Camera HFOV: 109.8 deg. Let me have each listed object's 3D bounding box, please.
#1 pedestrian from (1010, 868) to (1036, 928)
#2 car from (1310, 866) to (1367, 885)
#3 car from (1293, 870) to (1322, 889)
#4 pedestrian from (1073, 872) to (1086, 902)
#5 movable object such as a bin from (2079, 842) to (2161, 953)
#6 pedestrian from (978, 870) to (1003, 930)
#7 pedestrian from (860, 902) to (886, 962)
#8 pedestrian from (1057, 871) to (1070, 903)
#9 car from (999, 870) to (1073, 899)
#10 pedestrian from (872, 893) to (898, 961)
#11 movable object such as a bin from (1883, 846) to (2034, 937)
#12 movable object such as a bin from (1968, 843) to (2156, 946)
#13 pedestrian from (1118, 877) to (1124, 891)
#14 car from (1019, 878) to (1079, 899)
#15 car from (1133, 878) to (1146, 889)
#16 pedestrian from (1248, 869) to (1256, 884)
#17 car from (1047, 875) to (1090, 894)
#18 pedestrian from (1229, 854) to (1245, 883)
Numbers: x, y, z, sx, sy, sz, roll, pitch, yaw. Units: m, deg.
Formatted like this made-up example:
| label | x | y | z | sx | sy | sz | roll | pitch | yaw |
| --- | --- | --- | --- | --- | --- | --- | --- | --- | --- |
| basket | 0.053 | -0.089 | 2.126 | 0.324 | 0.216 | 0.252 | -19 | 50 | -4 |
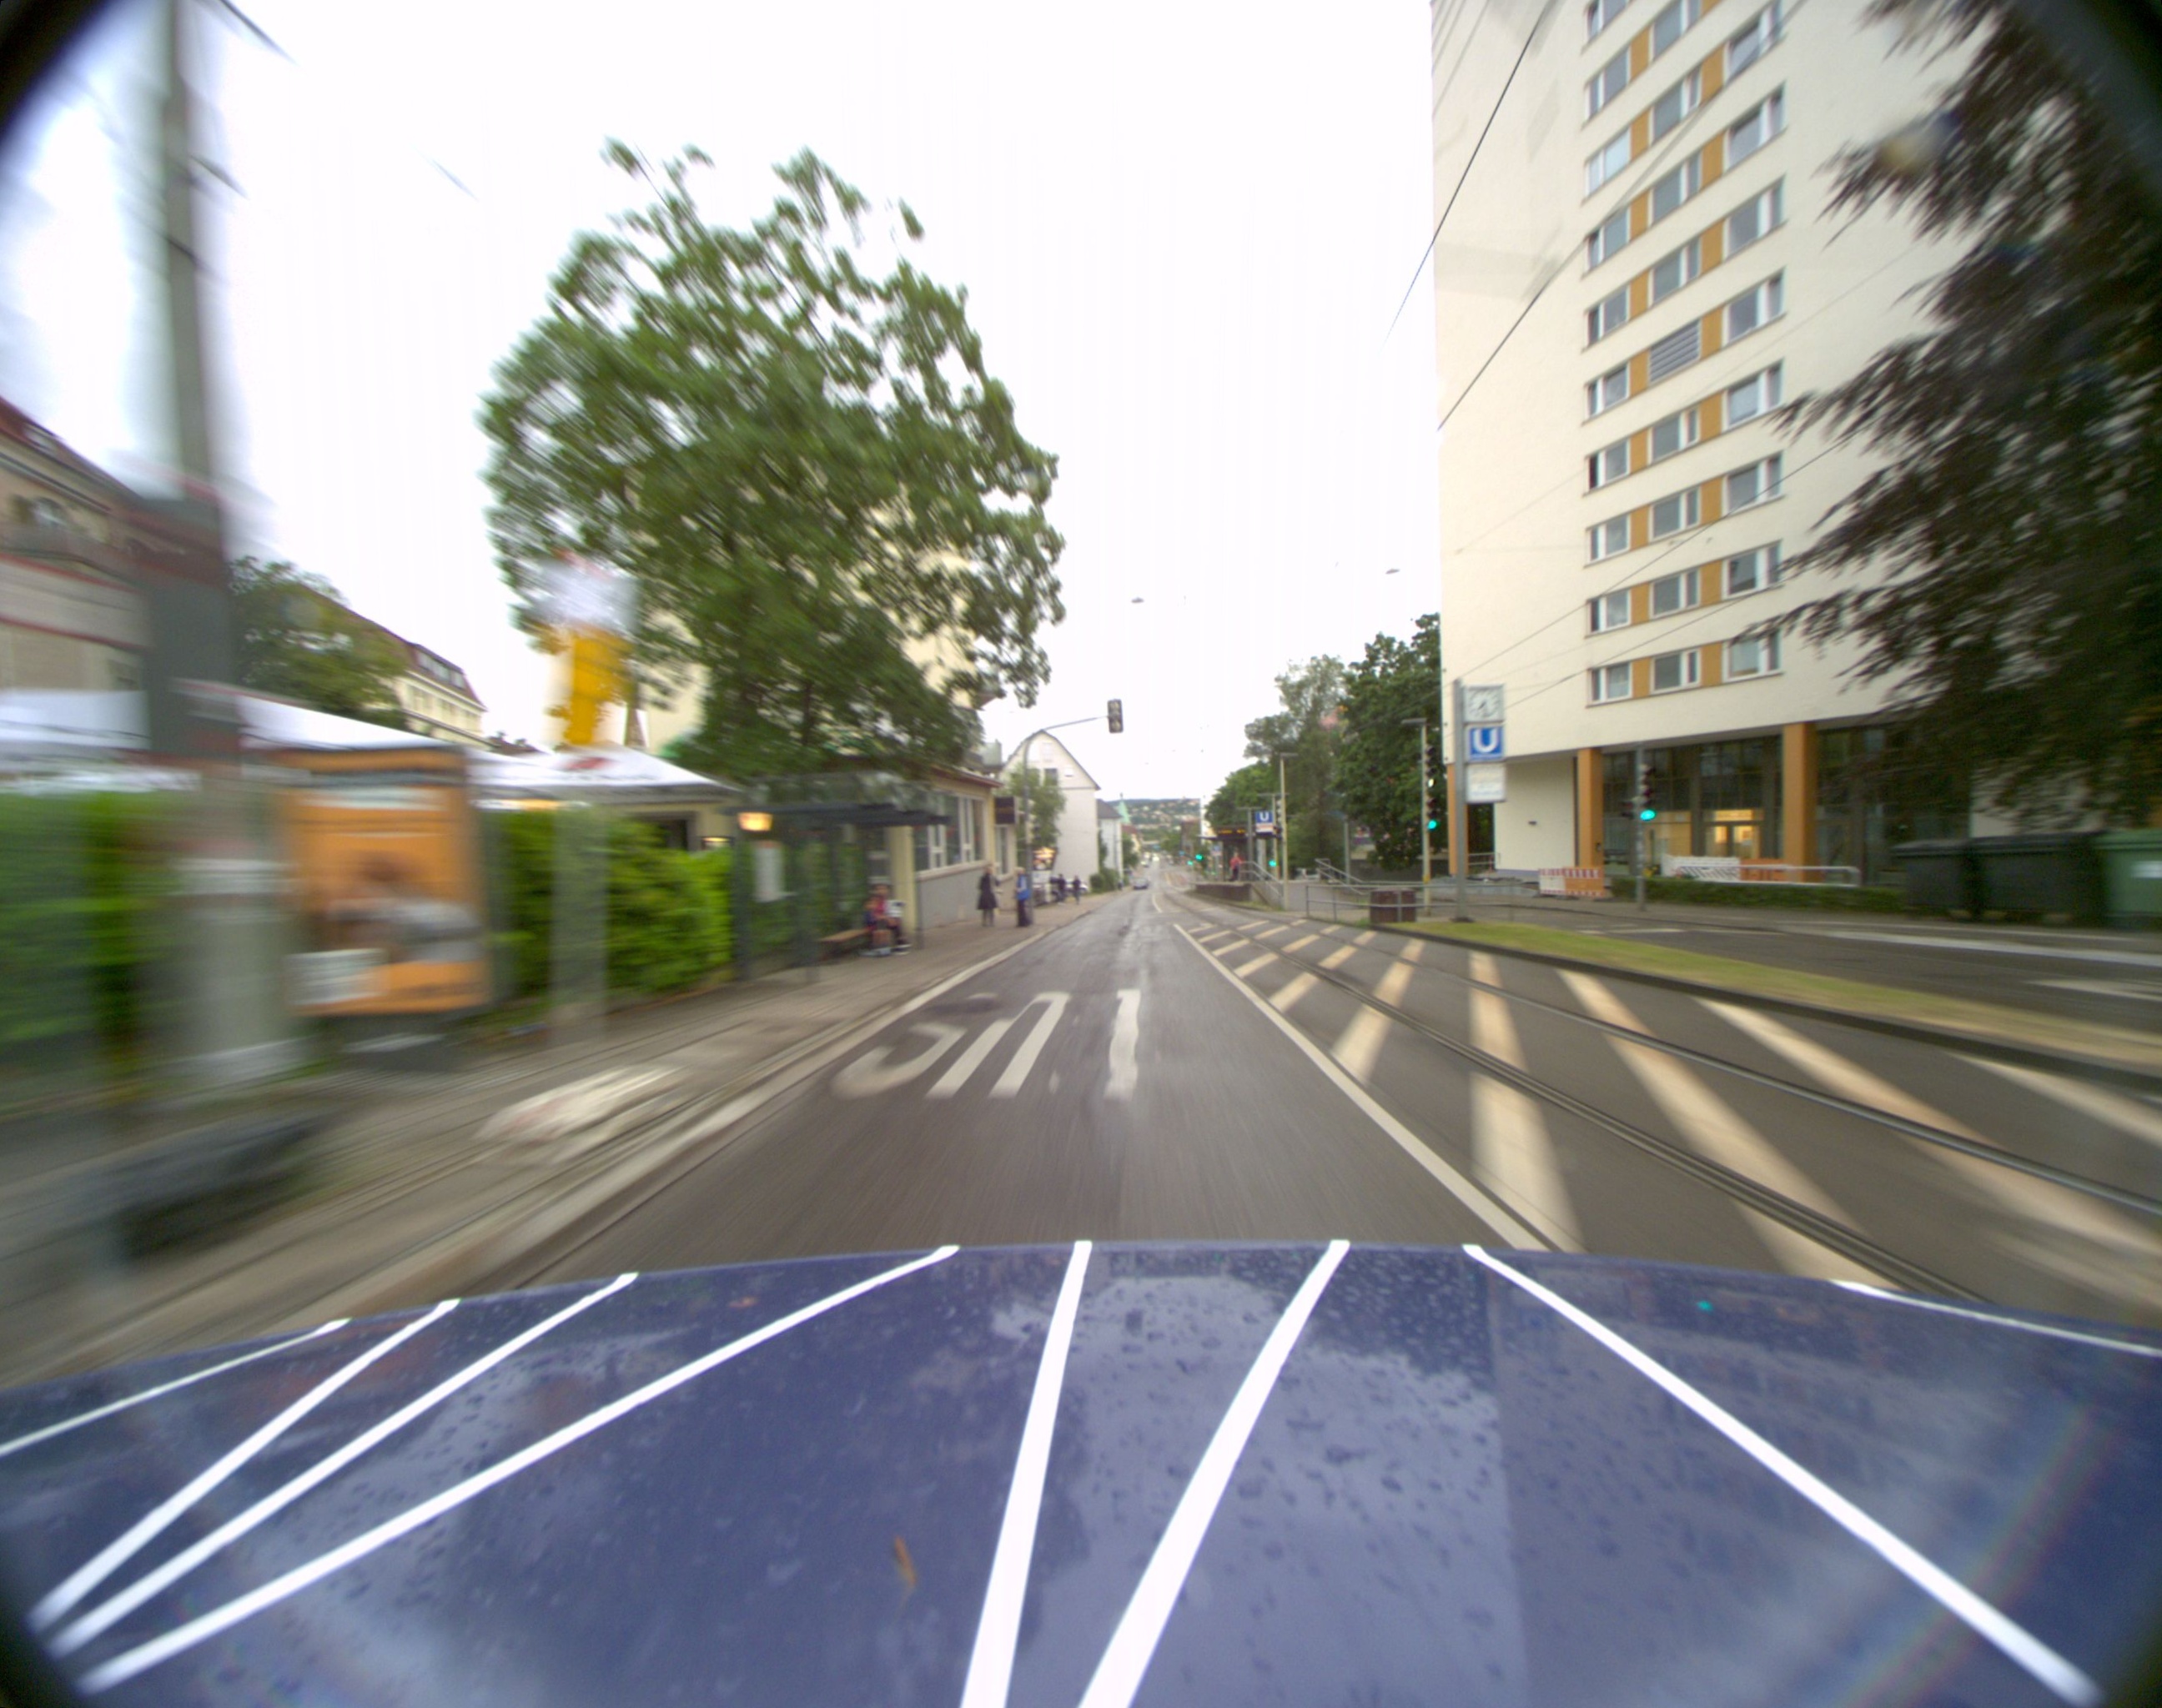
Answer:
| label | x | y | z | sx | sy | sz | roll | pitch | yaw |
| --- | --- | --- | --- | --- | --- | --- | --- | --- | --- |
| pedestrian | -1.526 | 1.132 | 19.929 | 0.589 | 1.544 | 0.650 | 0 | -1 | 4 |
| car | 22.394 | 1.879 | 66.178 | 4.482 | 1.533 | 1.949 | -2 | -1 | 25 |
| car | 22.256 | 2.500 | 74.814 | 1.750 | 1.706 | 4.444 | -2 | -1 | 4 |
| pedestrian | -0.088 | 1.919 | 44.082 | 0.720 | 1.703 | 0.608 | 0 | -1 | -2 |
| movable object such as a bin | 14.702 | 0.565 | 10.060 | 1.023 | 1.425 | 1.445 | -4 | -1 | 7 |
| pedestrian | -2.371 | 1.201 | 19.965 | 0.547 | 1.544 | 0.559 | 0 | -1 | 2 |
| pedestrian | -3.501 | 1.308 | 12.796 | 0.325 | 0.989 | 0.318 | 1 | -1 | 1 |
| pedestrian | -0.962 | 1.776 | 41.511 | 0.580 | 1.703 | 0.614 | -3 | -1 | 1 |
| car | -2.775 | 1.906 | 47.202 | 4.337 | 1.664 | 1.782 | 1 | -2 | 6 |
| pedestrian | -3.396 | 1.261 | 13.177 | 0.325 | 1.143 | 0.318 | 1 | -1 | 1 |
| movable object such as a bin | 14.975 | 0.625 | 13.027 | 1.023 | 1.425 | 1.305 | -4 | -1 | 7 |
| movable object such as a bin | 14.783 | 0.594 | 11.524 | 1.023 | 1.425 | 1.356 | -4 | -1 | 7 |
| pedestrian | 4.928 | 3.690 | 93.526 | 0.657 | 1.611 | 0.630 | -1 | 0 | 10 |
| car | -2.757 | 3.000 | 66.218 | 4.942 | 1.428 | 1.975 | -4 | 0 | 5 |
| car | 8.726 | 4.350 | 112.299 | 1.725 | 1.350 | 4.003 | -3 | -1 | 6 |
| pedestrian | 18.171 | 2.363 | 80.689 | 0.754 | 1.584 | 0.618 | -4 | -1 | 7 |
| car | -1.175 | 2.914 | 72.651 | 3.997 | 1.459 | 1.815 | -2 | 5 | 0 |
| pedestrian | 8.425 | 0.782 | 41.065 | 0.672 | 1.538 | 0.772 | -1 | -1 | 4 |
